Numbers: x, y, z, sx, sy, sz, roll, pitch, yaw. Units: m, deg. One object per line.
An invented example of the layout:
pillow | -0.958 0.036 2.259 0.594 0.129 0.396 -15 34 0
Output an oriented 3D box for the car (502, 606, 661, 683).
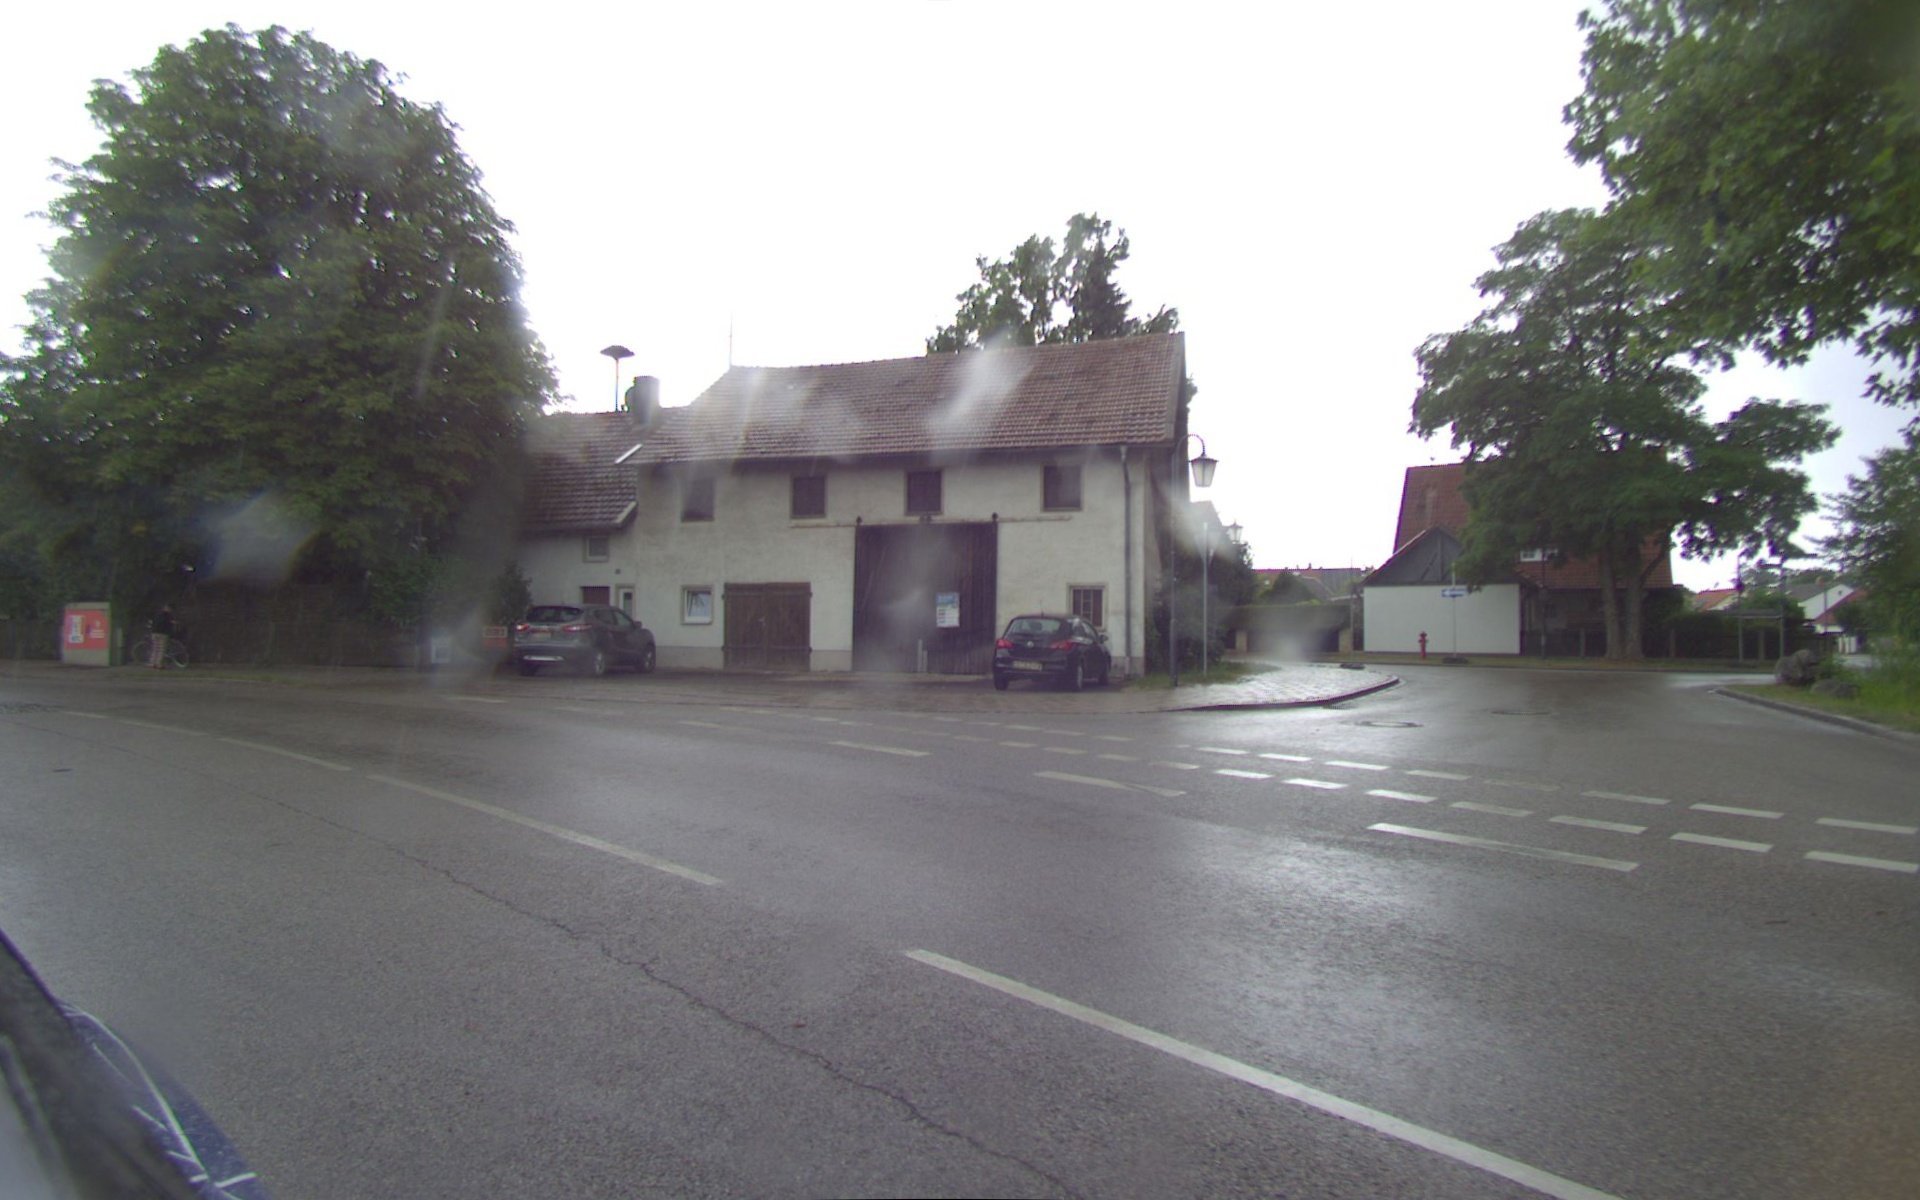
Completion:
car | -8.414 1.012 22.935 1.794 1.560 4.276 0 -3 3

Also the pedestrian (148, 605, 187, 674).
pedestrian | -19.049 0.941 24.325 0.642 1.640 0.480 1 -1 -27

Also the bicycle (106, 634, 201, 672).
bicycle | -19.969 1.312 25.064 1.849 0.909 0.663 0 -1 2

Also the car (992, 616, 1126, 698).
car | 2.088 1.058 20.195 1.806 1.447 4.255 0 -1 18
